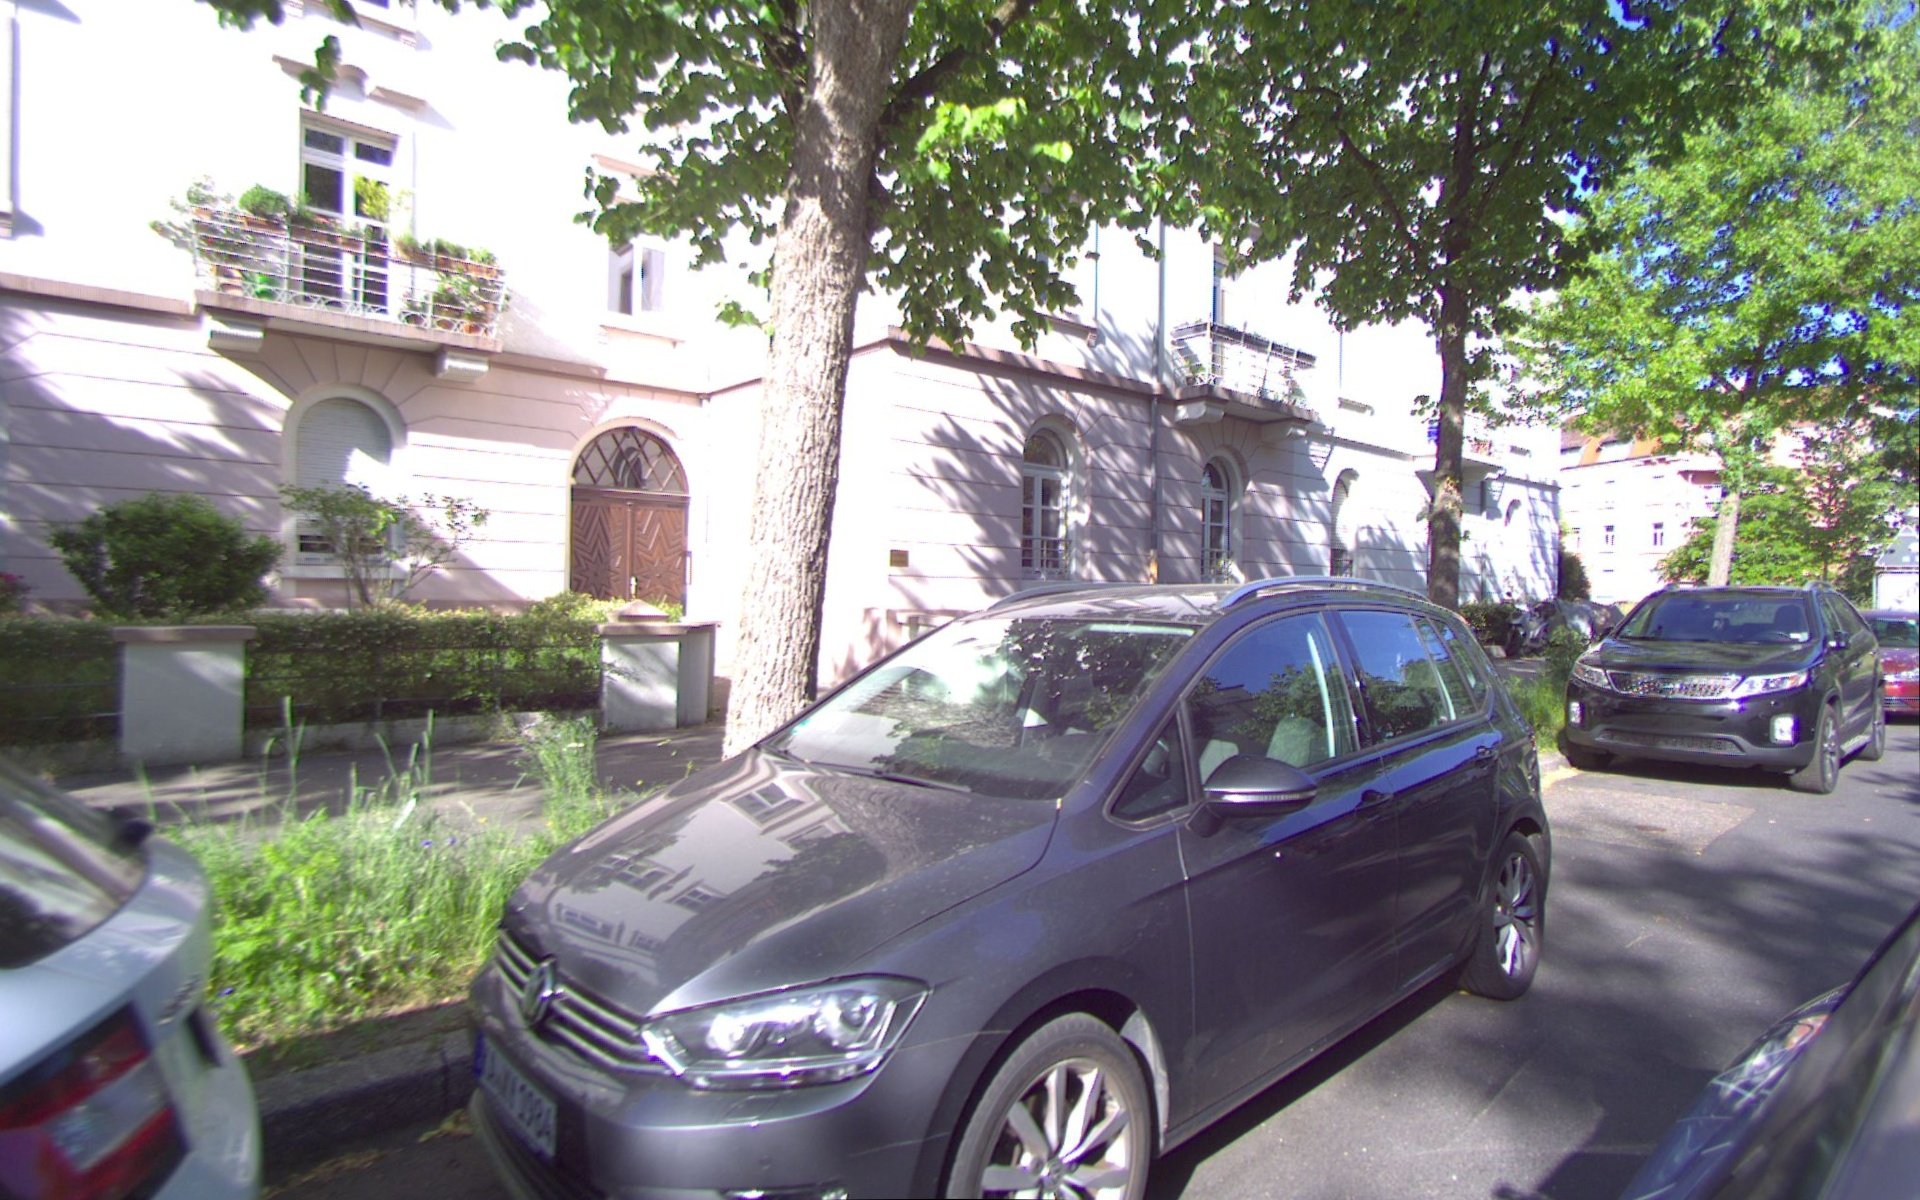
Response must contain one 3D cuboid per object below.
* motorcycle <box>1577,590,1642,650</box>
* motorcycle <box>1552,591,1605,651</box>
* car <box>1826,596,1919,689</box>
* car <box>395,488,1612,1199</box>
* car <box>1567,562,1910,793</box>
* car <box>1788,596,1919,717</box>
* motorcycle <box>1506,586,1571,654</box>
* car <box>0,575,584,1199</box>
[{"bbox_3d":[15.558,0.452,24.227,0.971,1.345,1.823,1,1,44],"label":"motorcycle"},{"bbox_3d":[14.119,0.462,23.083,0.656,1.295,1.772,4,3,42],"label":"motorcycle"},{"bbox_3d":[16.320,0.674,17.370,4.064,1.419,1.655,0,1,-42],"label":"car"},{"bbox_3d":[0.675,0.658,3.616,4.458,1.608,1.686,0,-1,-42],"label":"car"},{"bbox_3d":[7.517,0.563,9.618,4.223,1.719,1.784,0,1,-41],"label":"car"},{"bbox_3d":[12.865,0.692,14.093,4.280,1.427,1.612,0,1,-45],"label":"car"},{"bbox_3d":[12.348,0.409,21.587,2.053,1.378,0.540,0,1,-41],"label":"motorcycle"},{"bbox_3d":[-2.658,0.695,0.565,4.291,1.442,1.633,0,2,-41],"label":"car"}]
